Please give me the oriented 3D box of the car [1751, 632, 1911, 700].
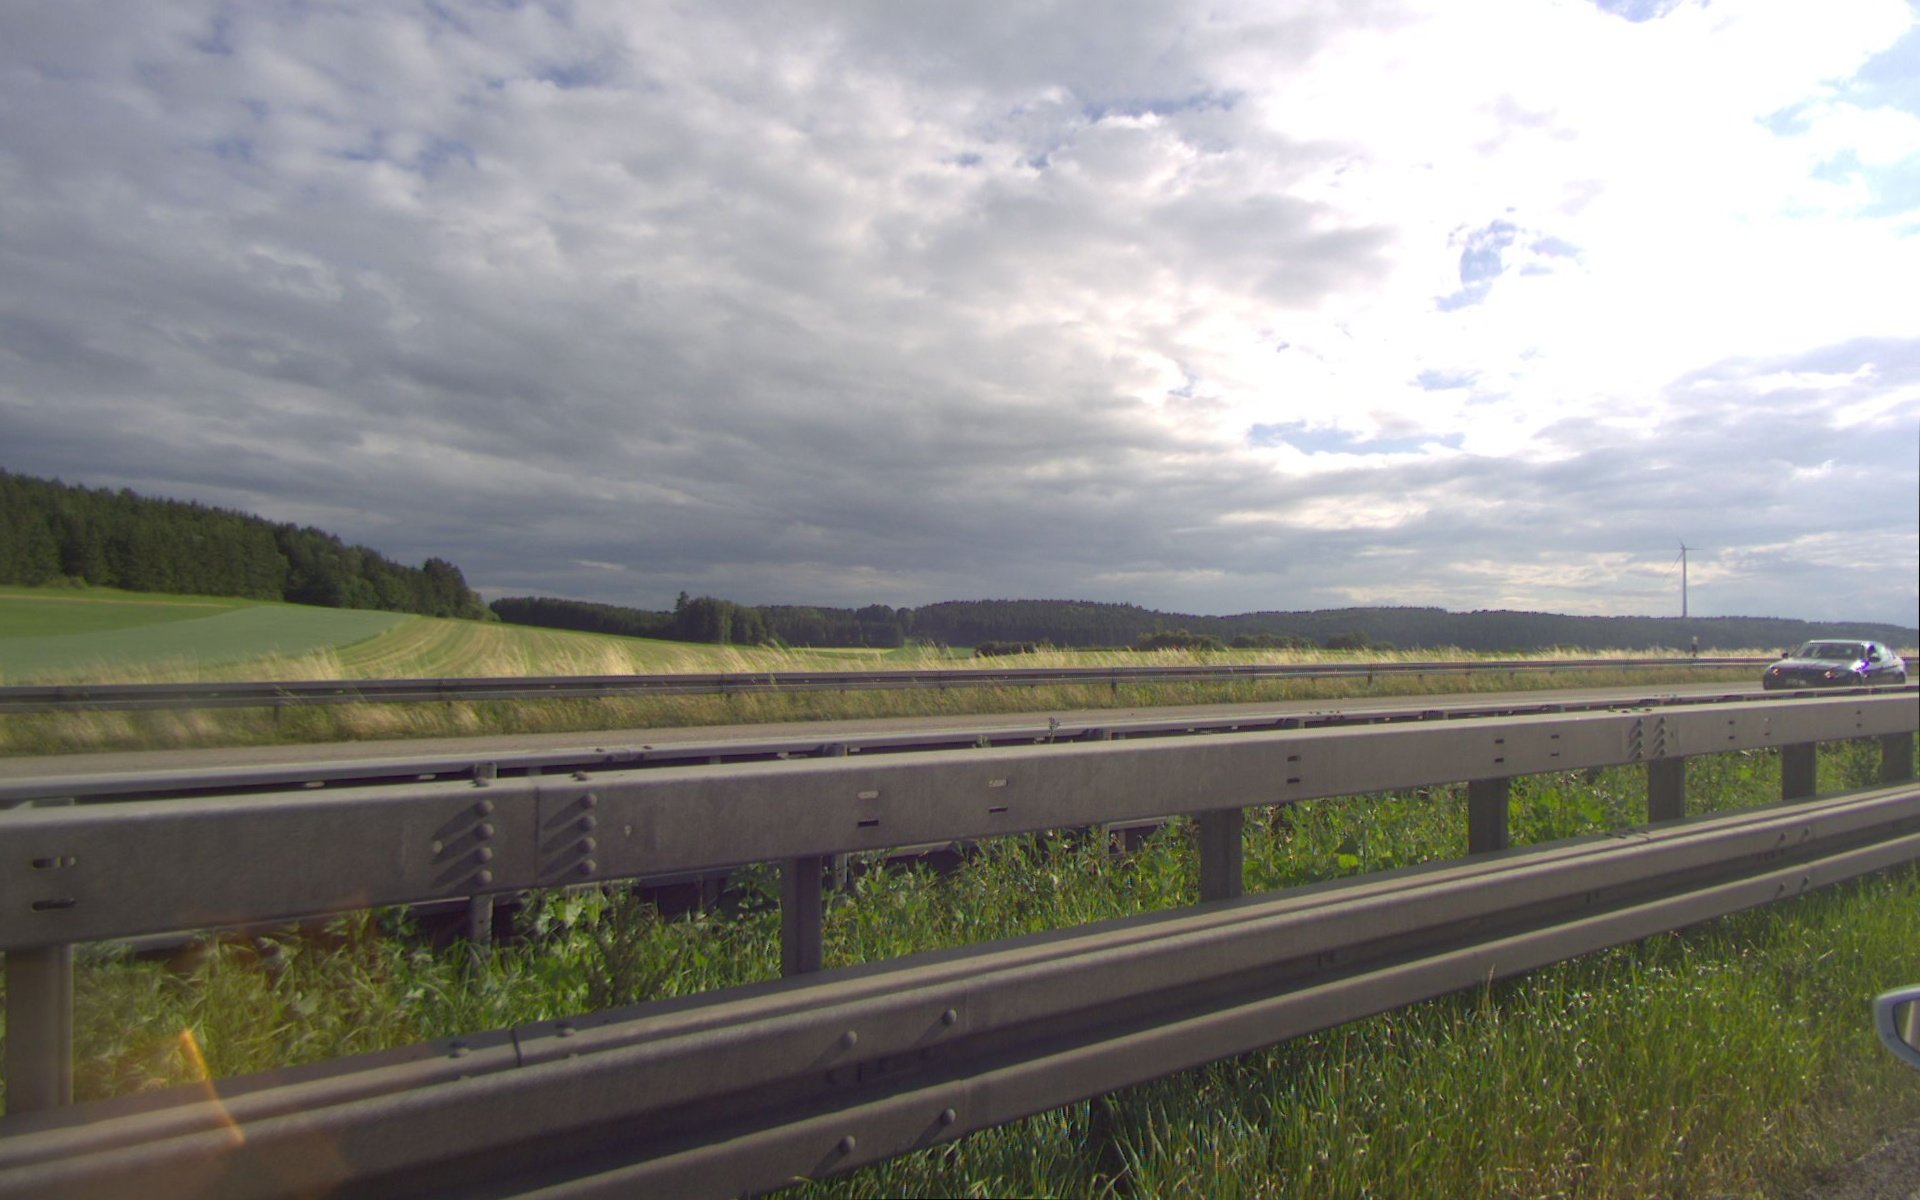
[{"bbox_3d":[21.704,1.609,24.987,4.429,1.499,1.740,2,-1,-32],"label":"car"}]
